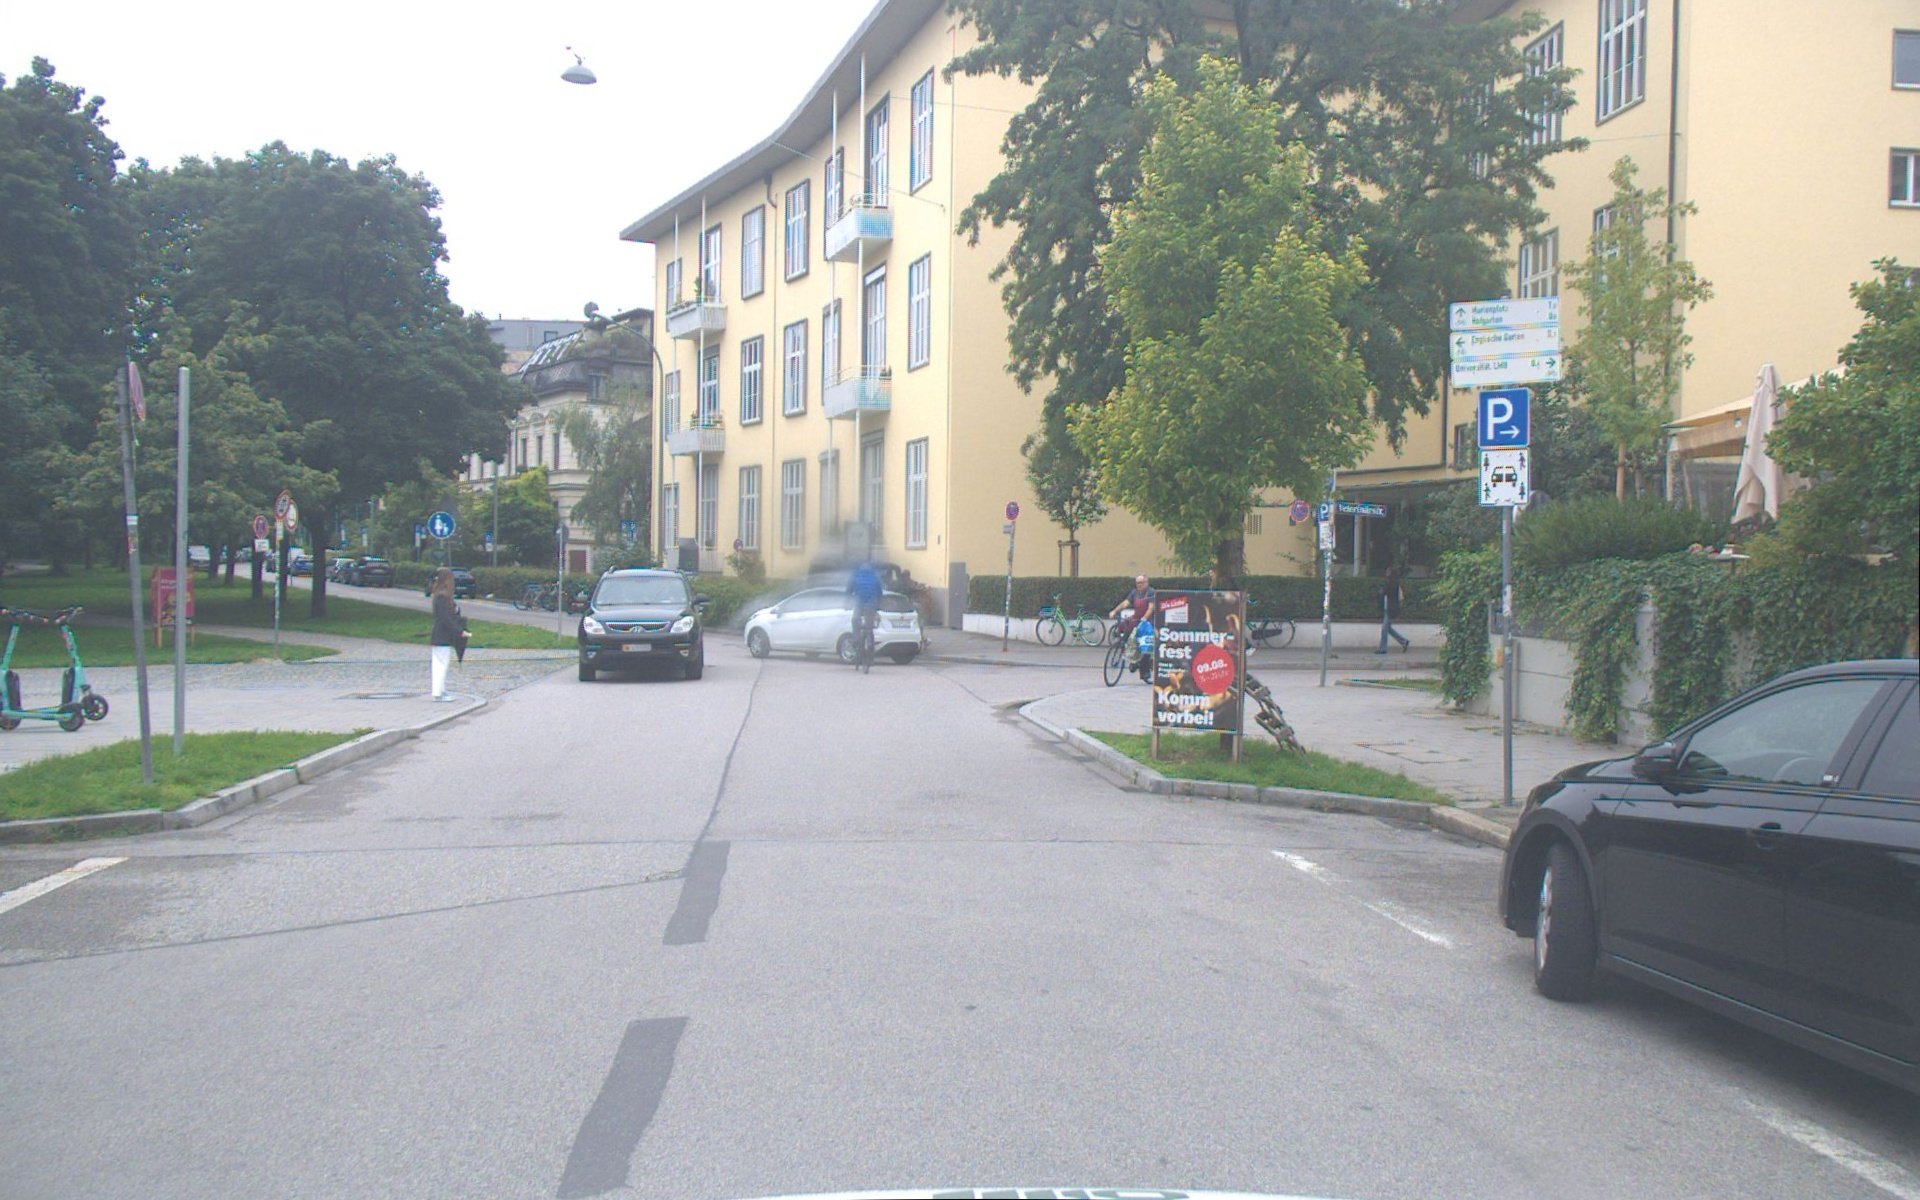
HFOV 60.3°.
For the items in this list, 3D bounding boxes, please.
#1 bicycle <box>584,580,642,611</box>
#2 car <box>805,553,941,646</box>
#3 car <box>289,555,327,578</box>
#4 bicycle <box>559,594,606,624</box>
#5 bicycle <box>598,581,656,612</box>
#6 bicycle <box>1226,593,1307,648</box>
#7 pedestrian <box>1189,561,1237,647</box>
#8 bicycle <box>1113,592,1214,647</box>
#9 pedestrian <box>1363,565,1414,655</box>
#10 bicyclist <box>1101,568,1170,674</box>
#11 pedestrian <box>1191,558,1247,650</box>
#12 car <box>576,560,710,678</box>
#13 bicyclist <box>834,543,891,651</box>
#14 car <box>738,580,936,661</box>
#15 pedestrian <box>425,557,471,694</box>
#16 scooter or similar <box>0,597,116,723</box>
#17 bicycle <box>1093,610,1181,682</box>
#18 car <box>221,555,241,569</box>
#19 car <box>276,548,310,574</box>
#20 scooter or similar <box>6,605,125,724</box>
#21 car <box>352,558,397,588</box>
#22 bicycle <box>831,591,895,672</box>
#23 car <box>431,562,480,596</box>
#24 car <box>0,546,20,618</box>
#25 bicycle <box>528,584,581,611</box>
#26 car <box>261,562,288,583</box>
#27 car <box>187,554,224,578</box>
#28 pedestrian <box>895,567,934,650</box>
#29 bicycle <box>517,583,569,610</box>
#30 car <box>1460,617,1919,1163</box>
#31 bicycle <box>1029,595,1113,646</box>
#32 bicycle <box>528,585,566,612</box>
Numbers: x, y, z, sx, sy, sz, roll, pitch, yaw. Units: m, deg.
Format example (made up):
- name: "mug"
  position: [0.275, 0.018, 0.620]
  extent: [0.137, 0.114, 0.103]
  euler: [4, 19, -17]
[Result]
- name: "bicycle"
  position: [-12.220, -0.156, 58.317]
  extent: [1.962, 1.046, 0.609]
  euler: [0, 0, -43]
- name: "car"
  position: [-2.002, -0.063, 36.560]
  extent: [1.845, 1.920, 4.594]
  euler: [0, 1, -19]
- name: "car"
  position: [-46.810, -2.391, 118.678]
  extent: [1.973, 1.628, 4.211]
  euler: [0, 1, -30]
- name: "bicycle"
  position: [-13.769, 0.322, 60.358]
  extent: [0.521, 1.046, 1.976]
  euler: [1, 0, 26]
- name: "bicycle"
  position: [-11.535, -0.121, 57.368]
  extent: [1.962, 1.046, 0.609]
  euler: [0, 0, -43]
- name: "bicycle"
  position: [6.593, 0.435, 35.633]
  extent: [1.650, 1.150, 0.459]
  euler: [1, 1, -7]
- name: "pedestrian"
  position: [5.275, 0.071, 34.536]
  extent: [0.810, 1.776, 0.740]
  euler: [1, 1, -7]
- name: "bicycle"
  position: [4.426, 0.413, 35.904]
  extent: [2.121, 1.135, 0.641]
  euler: [1, 1, 11]
- name: "pedestrian"
  position: [9.077, 0.207, 35.079]
  extent: [0.834, 1.890, 0.766]
  euler: [-1, 0, -6]
- name: "bicyclist"
  position: [2.805, 0.316, 26.405]
  extent: [0.857, 1.637, 1.050]
  euler: [1, 1, 20]
- name: "pedestrian"
  position: [5.233, 0.084, 33.422]
  extent: [0.970, 1.840, 0.659]
  euler: [0, 1, -6]
- name: "car"
  position: [-5.134, 0.240, 27.076]
  extent: [1.957, 1.749, 4.605]
  euler: [0, 1, -10]
- name: "bicyclist"
  position: [-1.668, -0.067, 28.122]
  extent: [0.896, 1.795, 1.213]
  euler: [1, 1, -7]
- name: "car"
  position: [-2.425, 0.356, 32.217]
  extent: [3.657, 1.431, 1.745]
  euler: [2, 1, 39]
- name: "pedestrian"
  position: [-6.598, 0.317, 21.328]
  extent: [0.533, 1.726, 0.663]
  euler: [-1, 1, -17]
- name: "scooter or similar"
  position: [-9.436, 0.610, 17.088]
  extent: [1.233, 1.266, 0.395]
  euler: [1, -1, 6]
- name: "bicycle"
  position: [2.856, 0.717, 26.538]
  extent: [0.858, 1.037, 2.191]
  euler: [1, 1, 21]
- name: "car"
  position: [-87.397, -4.506, 198.296]
  extent: [1.965, 1.628, 4.440]
  euler: [0, 1, -21]
- name: "car"
  position: [-51.237, -2.997, 126.968]
  extent: [2.041, 2.000, 4.935]
  euler: [0, 1, -26]
- name: "scooter or similar"
  position: [-9.622, 0.687, 17.810]
  extent: [0.429, 1.234, 1.052]
  euler: [0, -1, 26]
- name: "car"
  position: [-33.810, -1.560, 95.467]
  extent: [1.774, 1.709, 3.959]
  euler: [0, 1, -30]
- name: "bicycle"
  position: [-1.675, 0.508, 28.204]
  extent: [0.903, 1.274, 2.318]
  euler: [0, 1, -8]
- name: "car"
  position: [-23.972, -1.004, 78.528]
  extent: [1.628, 1.585, 3.527]
  euler: [0, 1, -28]
- name: "car"
  position: [-28.751, -0.500, 46.245]
  extent: [1.747, 2.048, 3.997]
  euler: [1, 1, 26]
- name: "bicycle"
  position: [-15.644, -0.099, 63.839]
  extent: [1.962, 1.046, 0.609]
  euler: [0, 0, -43]
- name: "car"
  position: [-56.771, -2.267, 136.908]
  extent: [1.708, 1.732, 3.964]
  euler: [0, 1, -28]
- name: "car"
  position: [-52.667, -2.383, 115.451]
  extent: [1.972, 1.628, 4.424]
  euler: [0, 1, -29]
- name: "pedestrian"
  position: [-1.011, 0.172, 36.466]
  extent: [0.831, 1.788, 0.953]
  euler: [0, 1, -4]
- name: "bicycle"
  position: [-16.563, -0.147, 65.680]
  extent: [1.962, 1.046, 0.609]
  euler: [0, 0, -43]
- name: "car"
  position: [3.376, 0.877, 5.472]
  extent: [1.683, 1.419, 3.993]
  euler: [4, 0, -9]
- name: "bicycle"
  position: [2.475, 0.455, 36.965]
  extent: [1.912, 1.103, 0.526]
  euler: [-1, -1, 38]
- name: "bicycle"
  position: [-16.476, -0.076, 66.009]
  extent: [0.402, 1.032, 1.527]
  euler: [1, 2, 44]
